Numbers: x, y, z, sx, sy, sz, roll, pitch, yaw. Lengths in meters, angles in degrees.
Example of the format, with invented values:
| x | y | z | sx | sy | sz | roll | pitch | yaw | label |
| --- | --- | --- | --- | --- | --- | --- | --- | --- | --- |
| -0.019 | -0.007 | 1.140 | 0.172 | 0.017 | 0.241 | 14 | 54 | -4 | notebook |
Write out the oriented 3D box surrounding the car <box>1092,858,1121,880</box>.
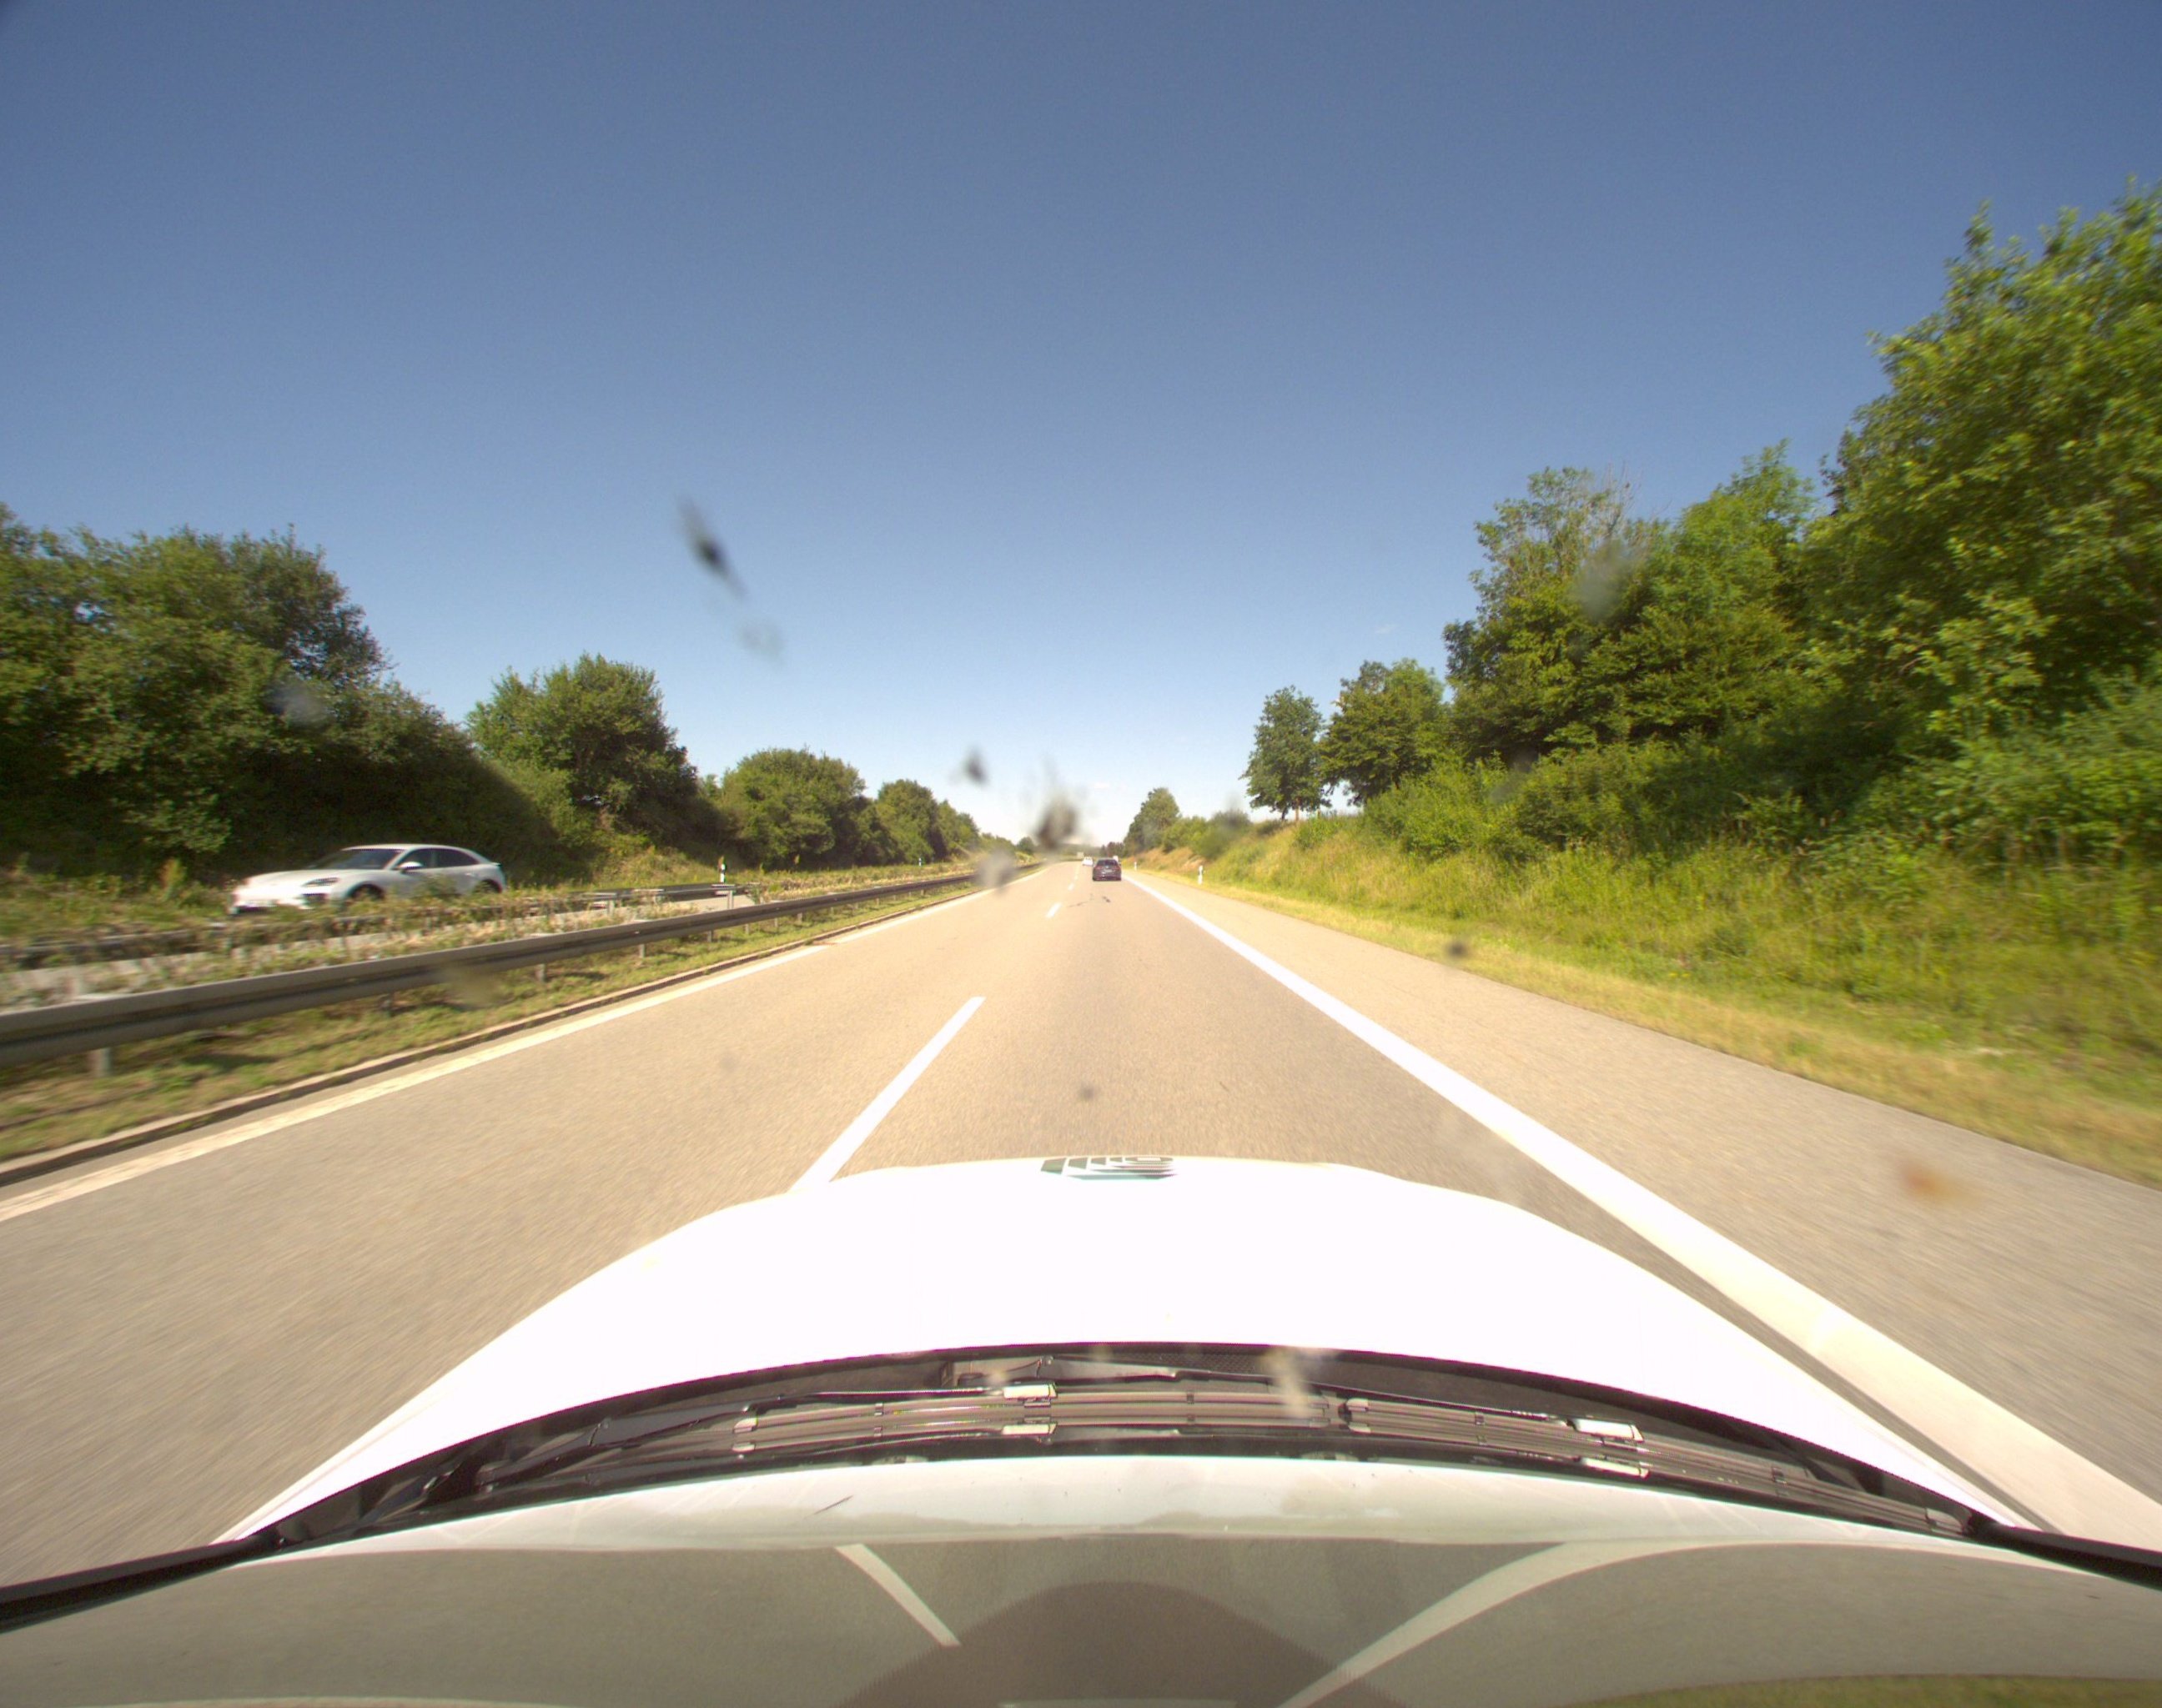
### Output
| x | y | z | sx | sy | sz | roll | pitch | yaw | label |
| --- | --- | --- | --- | --- | --- | --- | --- | --- | --- |
| 1.621 | 0.927 | 52.124 | 1.784 | 1.344 | 4.001 | -1 | 0 | 1 | car |

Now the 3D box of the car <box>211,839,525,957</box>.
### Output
| x | y | z | sx | sy | sz | roll | pitch | yaw | label |
| --- | --- | --- | --- | --- | --- | --- | --- | --- | --- |
| -13.977 | 0.783 | 16.499 | 1.986 | 2.014 | 4.857 | -1 | 0 | 2 | car |

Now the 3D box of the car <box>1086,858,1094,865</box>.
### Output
| x | y | z | sx | sy | sz | roll | pitch | yaw | label |
| --- | --- | --- | --- | --- | --- | --- | --- | --- | --- |
| 2.216 | 1.785 | 192.239 | 1.704 | 1.387 | 3.356 | 5 | -1 | 2 | car |

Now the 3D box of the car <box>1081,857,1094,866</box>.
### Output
| x | y | z | sx | sy | sz | roll | pitch | yaw | label |
| --- | --- | --- | --- | --- | --- | --- | --- | --- | --- |
| 1.068 | 1.373 | 143.726 | 2.002 | 1.344 | 3.996 | 5 | -1 | -3 | car |
